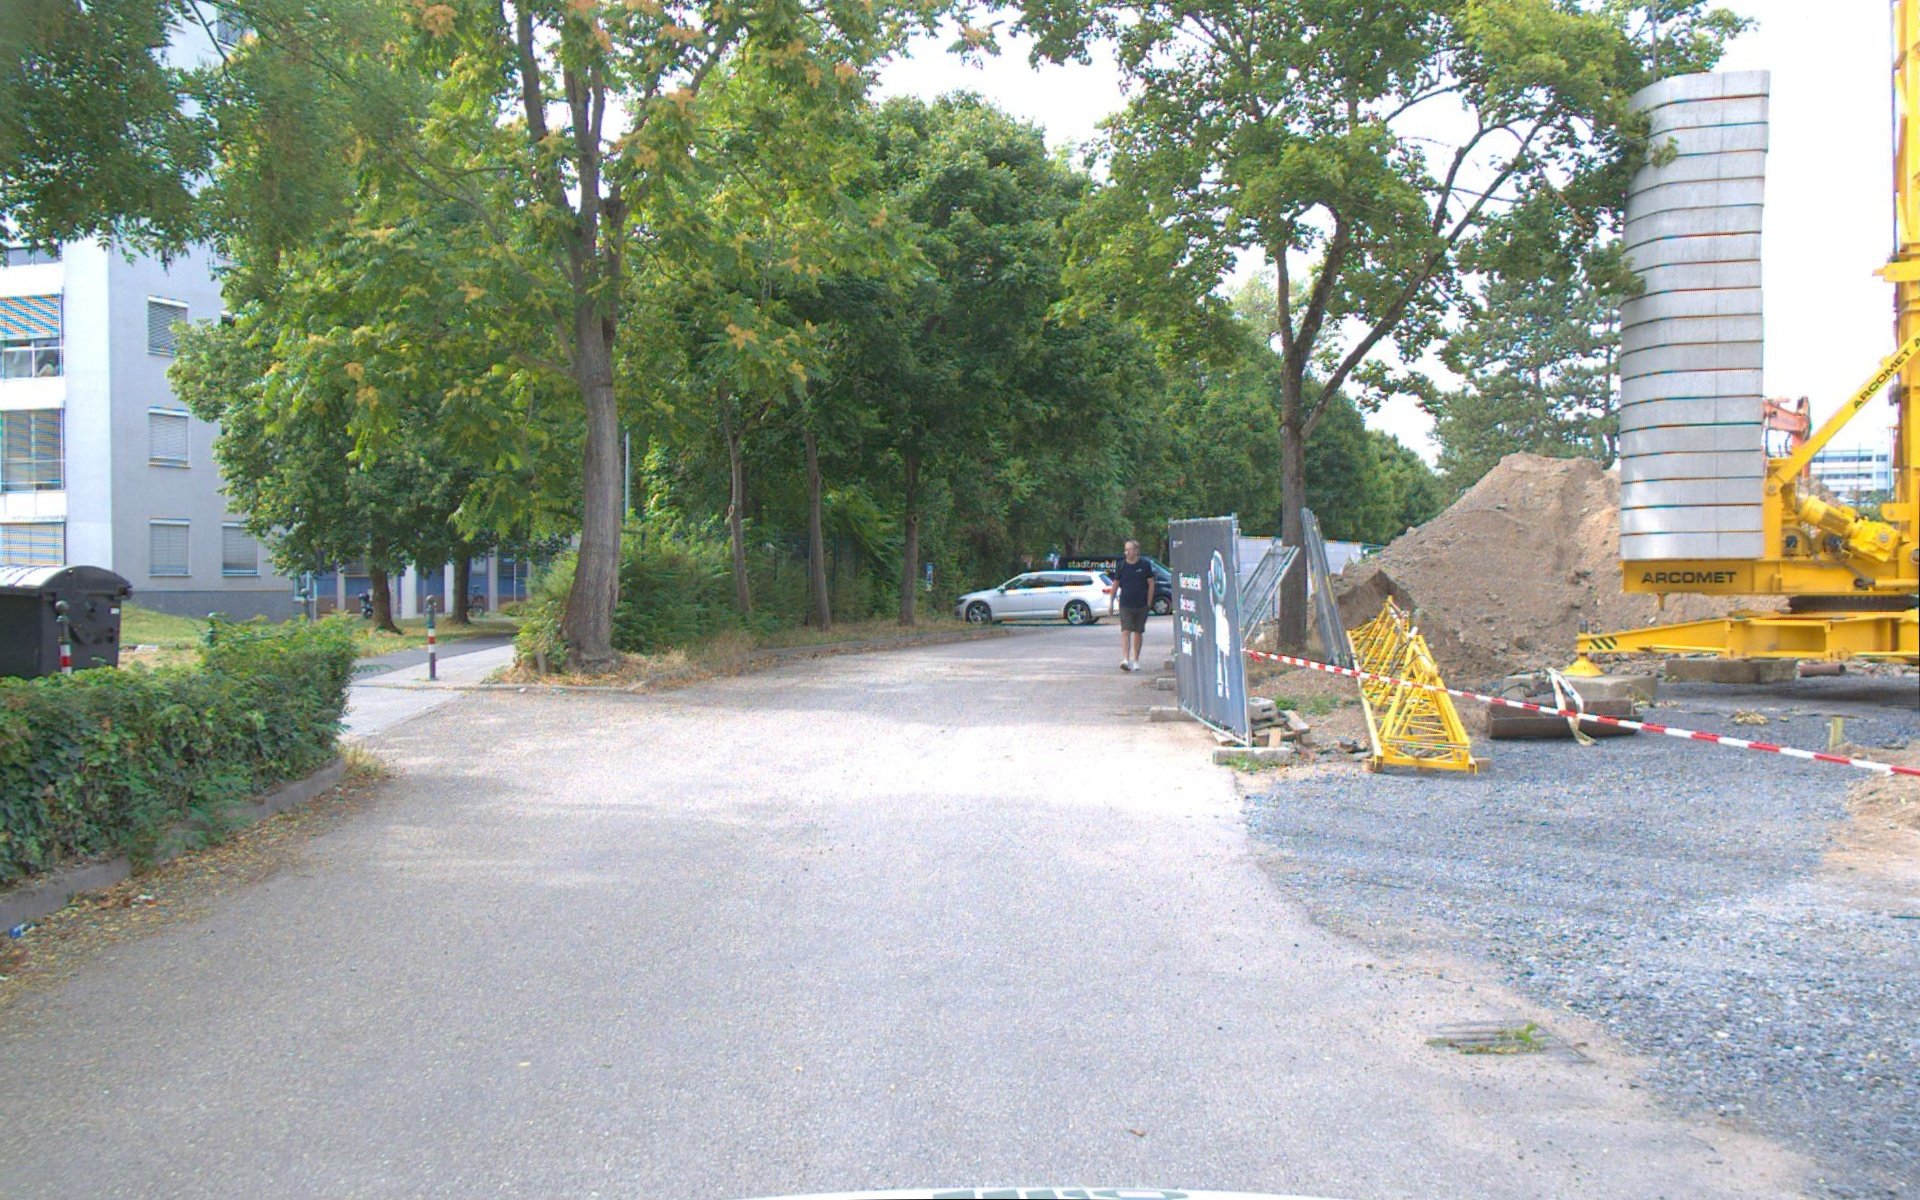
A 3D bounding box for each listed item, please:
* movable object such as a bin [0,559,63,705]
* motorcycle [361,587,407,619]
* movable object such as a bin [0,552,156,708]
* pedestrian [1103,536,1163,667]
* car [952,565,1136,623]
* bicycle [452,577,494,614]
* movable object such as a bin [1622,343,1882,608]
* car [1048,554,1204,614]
[{"bbox_3d":[-10.140,0.311,16.955,1.253,1.455,1.122,1,1,21],"label":"movable object such as a bin"},{"bbox_3d":[-24.514,0.103,70.374,0.652,1.313,2.148,1,1,19],"label":"motorcycle"},{"bbox_3d":[-8.810,0.267,16.209,1.253,1.455,1.122,1,1,21],"label":"movable object such as a bin"},{"bbox_3d":[2.465,0.010,23.533,0.732,1.821,0.731,0,1,15],"label":"pedestrian"},{"bbox_3d":[2.309,-0.179,45.186,4.691,1.514,2.002,1,1,15],"label":"car"},{"bbox_3d":[-16.089,-0.154,54.673,0.636,1.202,1.902,0,1,8],"label":"bicycle"},{"bbox_3d":[23.093,-3.297,47.766,3.789,6.785,10.920,1,1,42],"label":"movable object such as a bin"},{"bbox_3d":[5.646,-0.566,56.144,4.940,1.987,2.001,1,1,19],"label":"car"}]
